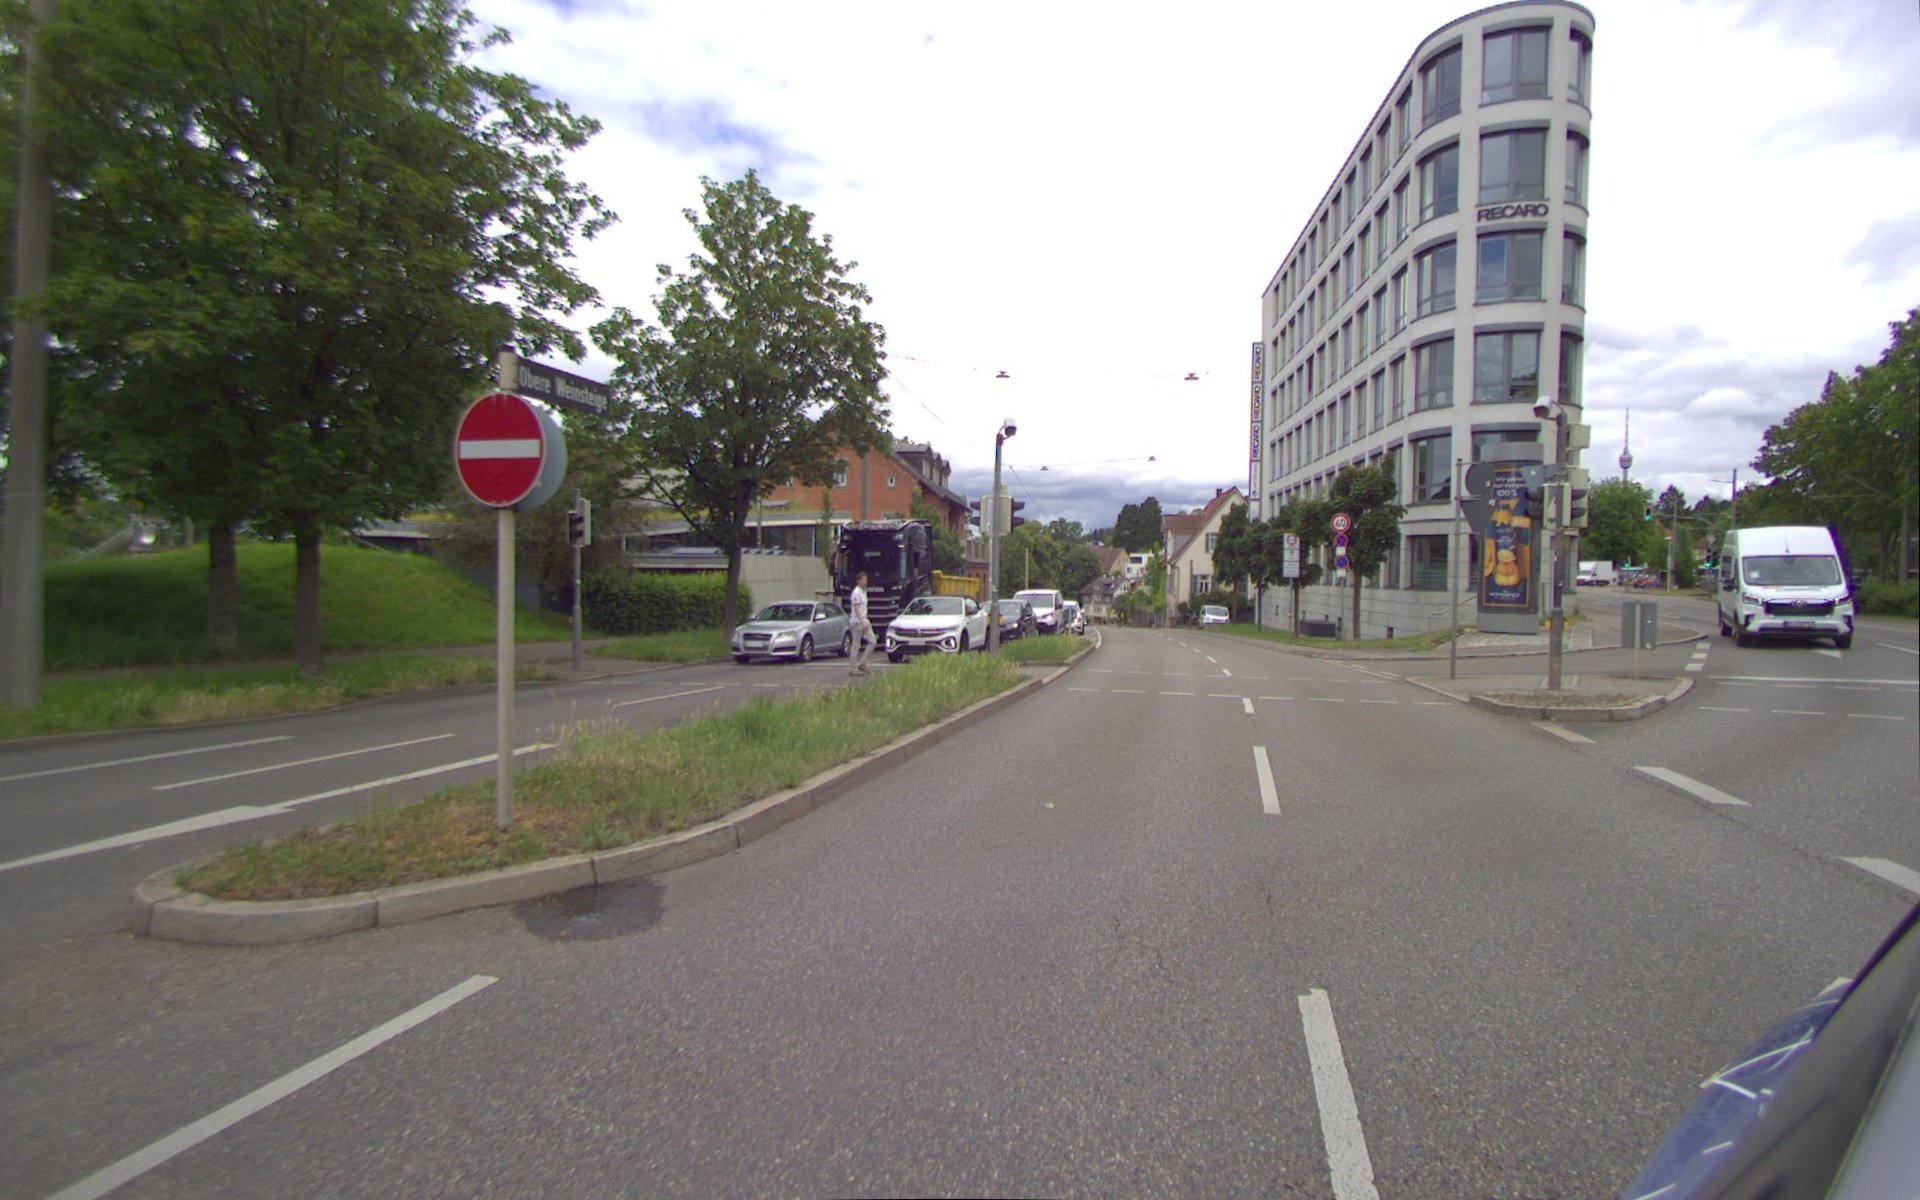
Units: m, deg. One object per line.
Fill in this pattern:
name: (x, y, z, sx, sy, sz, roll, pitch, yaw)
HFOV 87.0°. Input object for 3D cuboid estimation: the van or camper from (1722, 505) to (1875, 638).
van or camper: (19.563, -0.668, 23.909, 2.097, 2.724, 6.225, -1, 1, 33)

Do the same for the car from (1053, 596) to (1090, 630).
car: (5.762, 0.628, 51.923, 1.708, 1.588, 4.317, -2, 0, 8)

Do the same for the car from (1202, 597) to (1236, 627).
car: (19.084, 0.855, 74.786, 2.143, 2.038, 3.990, 0, 2, 10)

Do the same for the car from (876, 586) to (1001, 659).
car: (-0.394, 0.476, 23.972, 1.829, 1.549, 4.468, -1, 0, 15)

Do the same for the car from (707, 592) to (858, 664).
car: (-4.038, 0.587, 23.811, 1.961, 1.460, 4.140, -1, 1, 15)

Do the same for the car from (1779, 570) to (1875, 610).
car: (34.625, -0.444, 40.548, 1.834, 1.454, 4.661, 2, 3, 28)

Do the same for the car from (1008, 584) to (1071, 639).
car: (2.924, 0.373, 36.384, 1.728, 1.819, 4.272, -1, 0, 12)

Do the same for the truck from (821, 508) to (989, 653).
truck: (-1.427, -0.633, 32.578, 2.786, 3.974, 9.421, -1, 1, 13)

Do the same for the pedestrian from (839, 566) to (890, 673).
pedestrian: (-1.757, 0.358, 18.746, 0.745, 1.942, 0.585, -2, 0, 14)

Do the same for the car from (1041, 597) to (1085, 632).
car: (4.522, 0.604, 43.950, 1.726, 1.393, 4.278, -1, 0, 8)

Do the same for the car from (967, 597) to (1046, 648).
car: (1.471, 0.637, 30.592, 1.630, 1.391, 3.960, -1, 0, 14)
